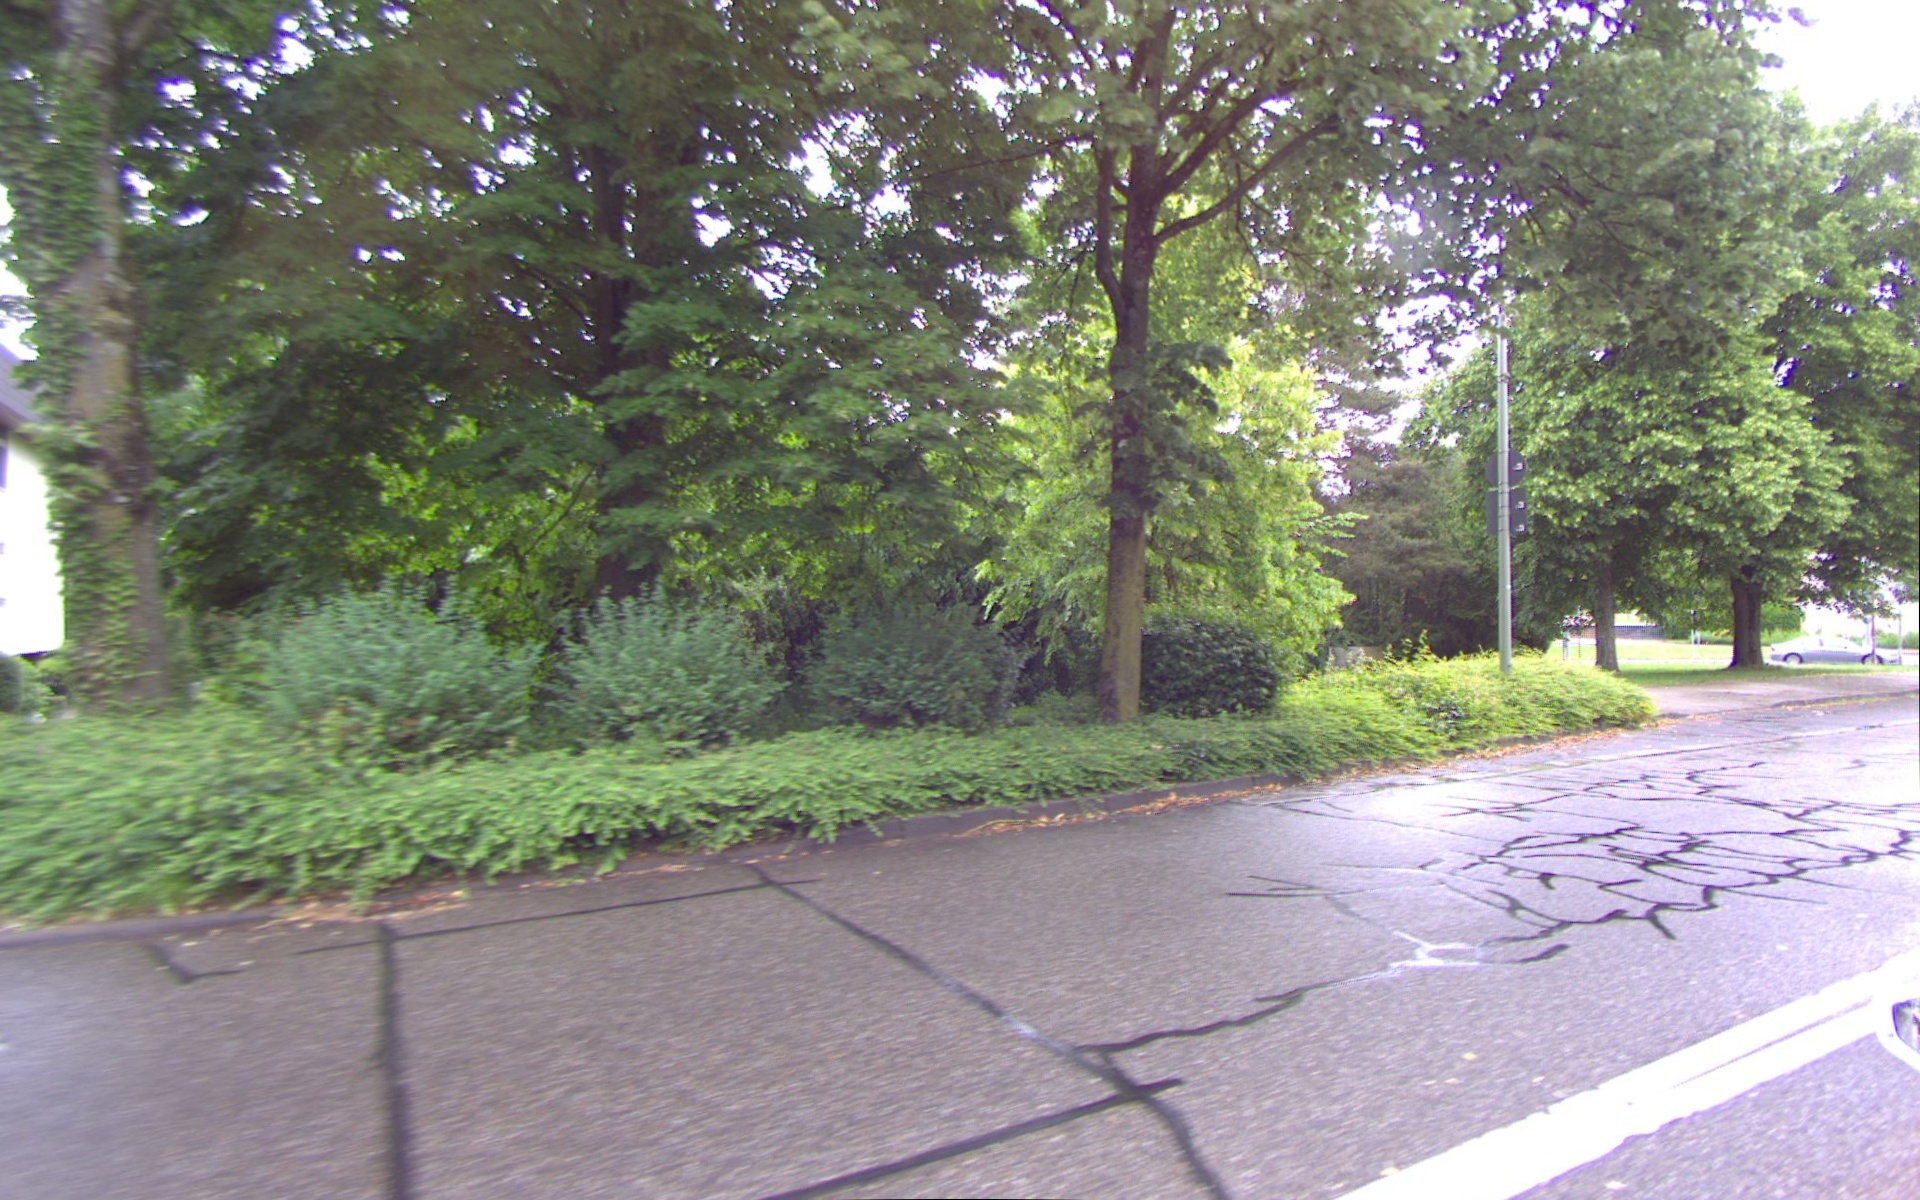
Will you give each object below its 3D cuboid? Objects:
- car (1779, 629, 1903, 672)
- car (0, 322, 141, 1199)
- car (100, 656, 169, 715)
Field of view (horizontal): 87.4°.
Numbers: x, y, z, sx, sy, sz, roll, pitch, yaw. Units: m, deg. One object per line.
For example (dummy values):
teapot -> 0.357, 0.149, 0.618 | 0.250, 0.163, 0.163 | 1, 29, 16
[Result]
car -> 40.106, 2.273, 45.794 | 1.984, 1.706, 3.984 | 1, 0, -41
car -> -4.288, 0.431, 1.473 | 4.525, 2.040, 1.982 | 1, -2, -33
car -> -29.750, 3.038, 36.227 | 1.810, 1.740, 3.954 | 2, 0, -40
